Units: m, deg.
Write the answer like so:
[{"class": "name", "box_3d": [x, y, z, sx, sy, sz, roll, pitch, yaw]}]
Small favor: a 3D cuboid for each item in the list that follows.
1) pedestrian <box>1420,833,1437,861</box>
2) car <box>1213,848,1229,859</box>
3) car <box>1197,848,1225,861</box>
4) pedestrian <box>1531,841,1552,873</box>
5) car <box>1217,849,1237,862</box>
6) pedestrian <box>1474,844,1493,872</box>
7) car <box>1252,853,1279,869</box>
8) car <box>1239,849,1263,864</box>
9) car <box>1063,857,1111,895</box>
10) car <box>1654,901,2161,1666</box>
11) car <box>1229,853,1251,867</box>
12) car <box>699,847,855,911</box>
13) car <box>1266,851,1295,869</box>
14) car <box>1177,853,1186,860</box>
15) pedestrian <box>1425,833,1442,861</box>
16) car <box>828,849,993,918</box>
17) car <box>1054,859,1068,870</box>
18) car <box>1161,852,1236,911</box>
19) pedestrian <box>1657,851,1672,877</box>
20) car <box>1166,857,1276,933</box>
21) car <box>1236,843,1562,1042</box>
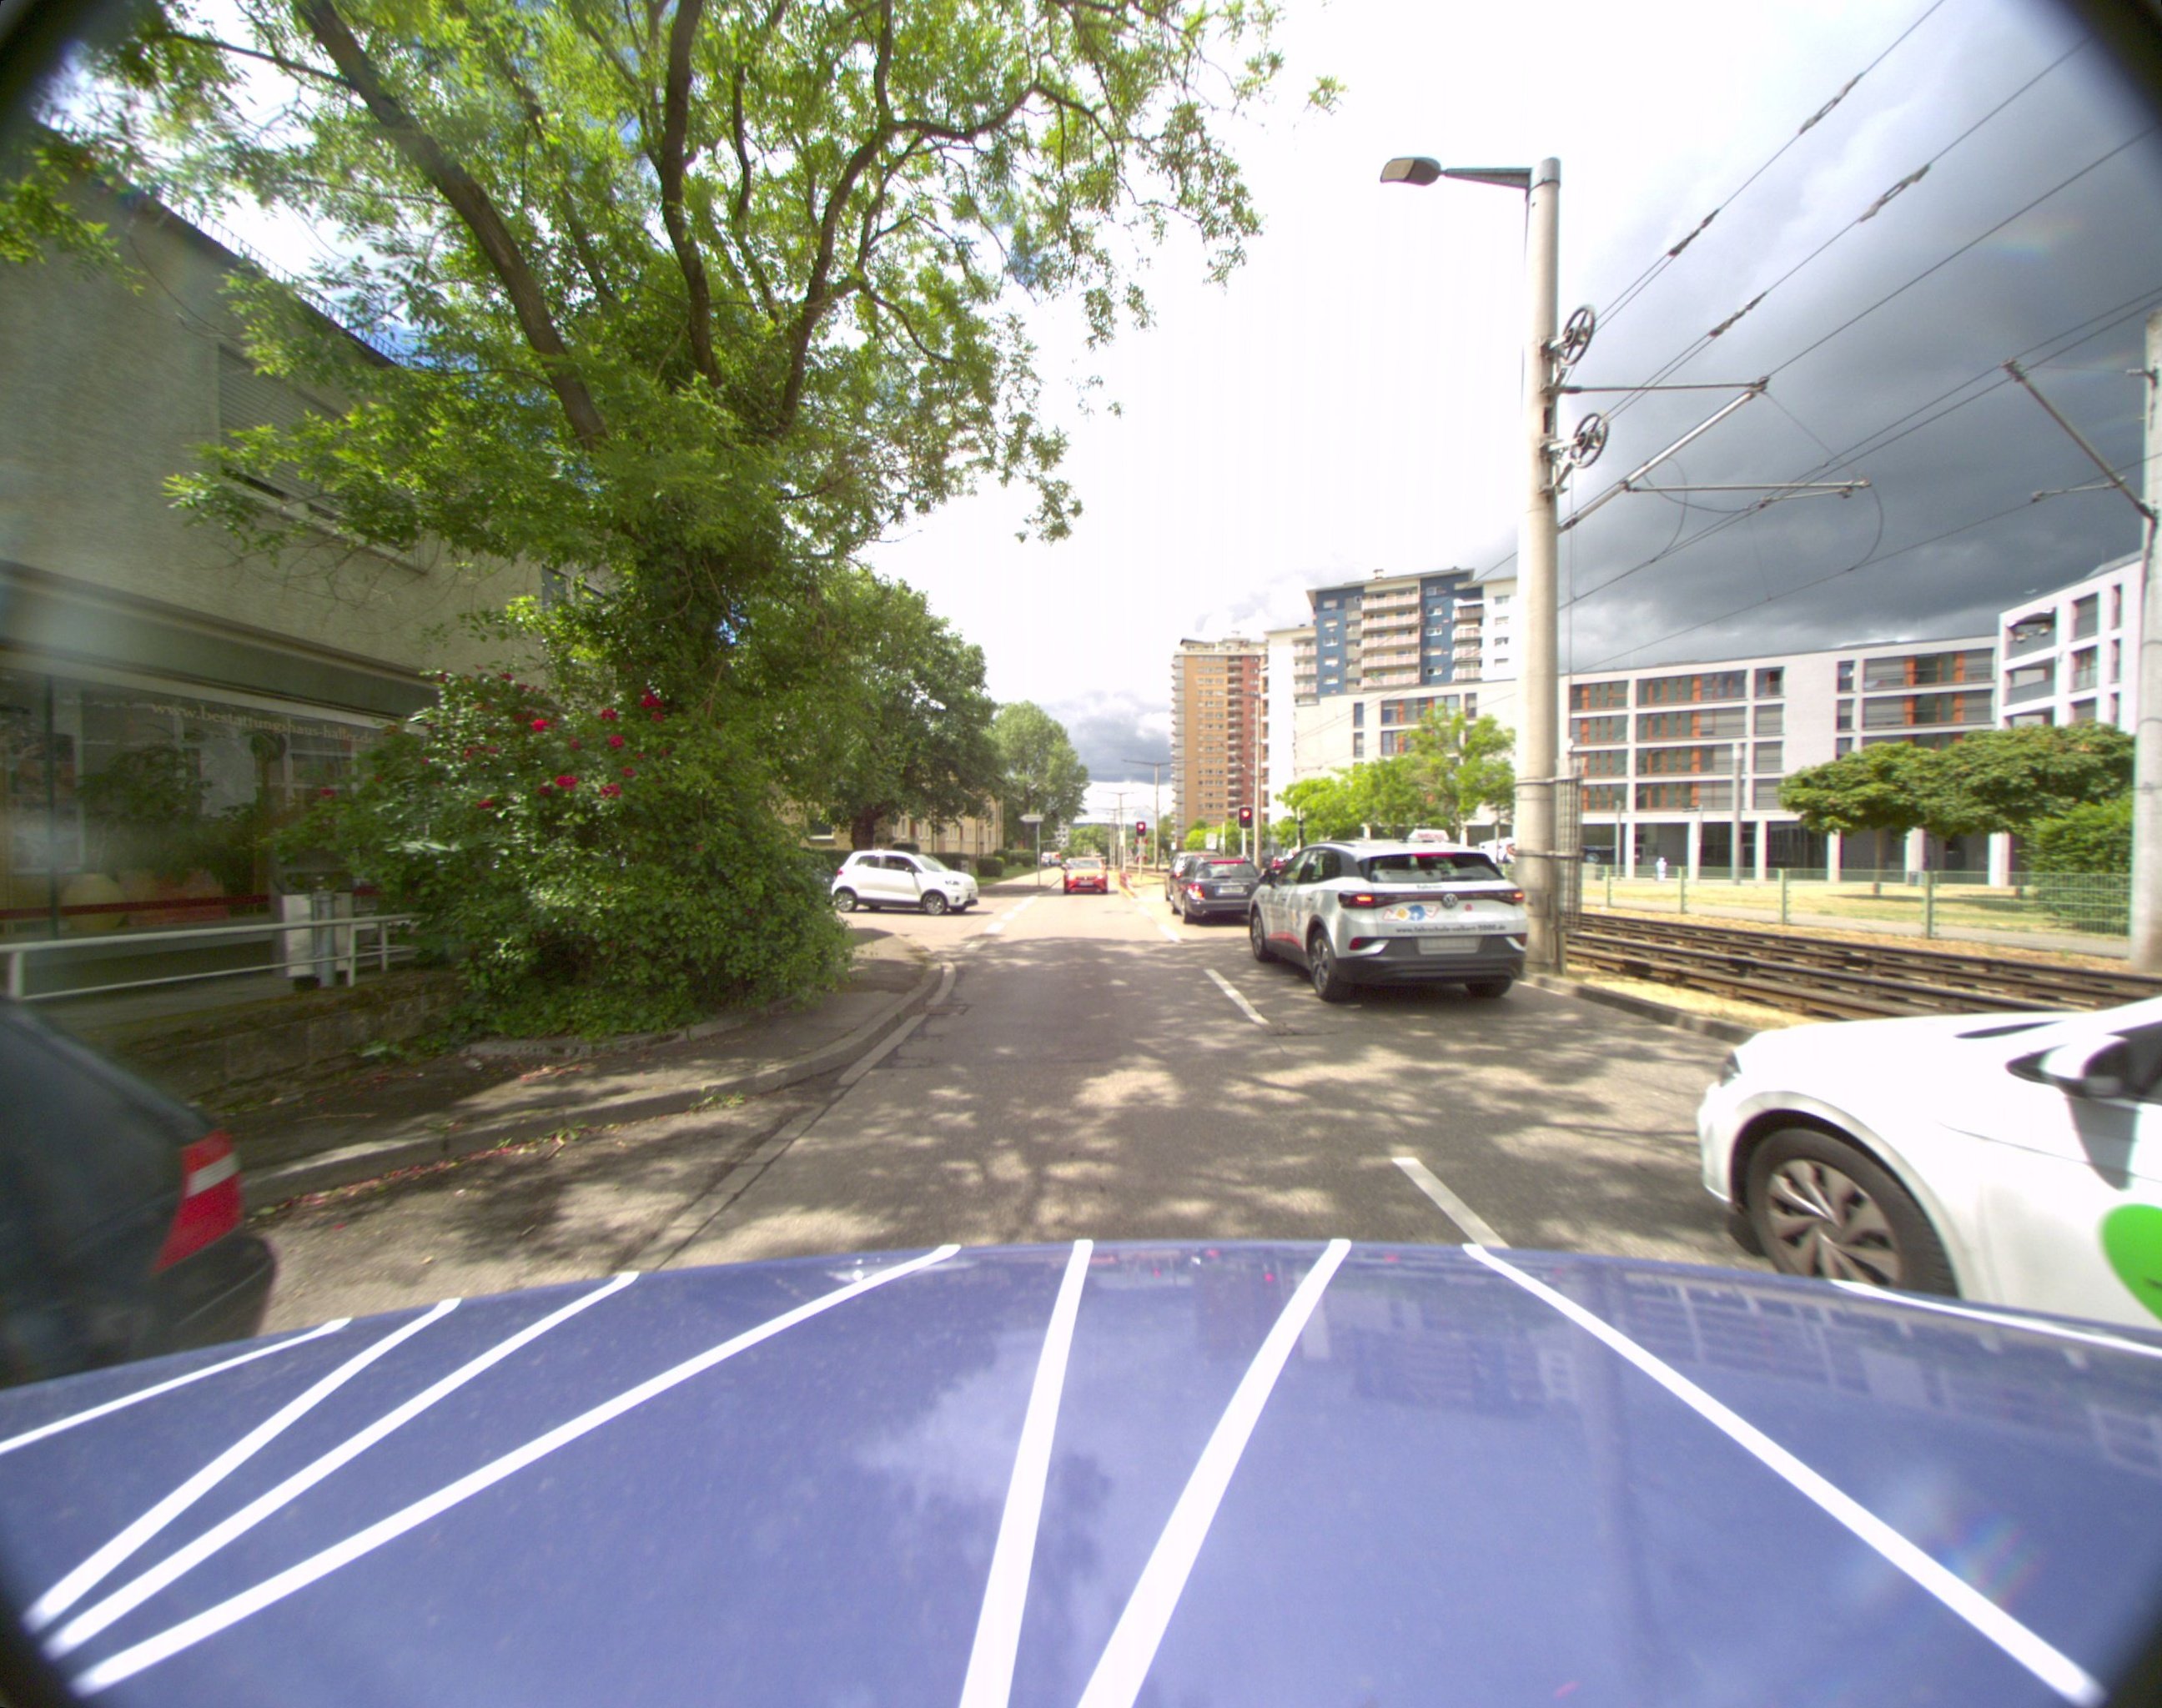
[{"class": "pedestrian", "box_3d": [21.073, -0.427, 46.114, 0.749, 1.644, 0.538, -1, 1, 1]}, {"class": "car", "box_3d": [21.252, -0.075, 115.238, 1.781, 1.650, 3.803, -1, 0, 0]}, {"class": "car", "box_3d": [20.482, 0.033, 119.634, 4.505, 1.914, 1.877, -1, 1, -40]}, {"class": "pedestrian", "box_3d": [23.830, 0.145, 39.311, 0.538, 1.601, 0.748, -1, 1, -21]}, {"class": "car", "box_3d": [18.251, 0.205, 95.244, 1.781, 1.531, 3.803, -1, 0, 0]}, {"class": "pedestrian", "box_3d": [28.498, 0.275, 53.745, 0.734, 2.002, 0.910, -1, 1, -17]}, {"class": "car", "box_3d": [18.472, 0.650, 76.042, 1.893, 1.531, 3.804, -1, 0, 2]}, {"class": "car", "box_3d": [18.416, 0.228, 82.293, 1.781, 1.531, 3.803, -1, 0, 0]}, {"class": "car", "box_3d": [0.291, 0.844, 30.537, 1.791, 1.387, 4.242, 0, 0, 2]}, {"class": "car", "box_3d": [3.006, 0.897, 0.849, 1.751, 1.398, 3.939, -1, 0, 0]}, {"class": "car", "box_3d": [18.486, 0.649, 88.602, 1.781, 1.531, 3.803, -1, 0, 0]}, {"class": "car", "box_3d": [-8.368, 0.638, 20.977, 3.641, 1.562, 1.844, 1, 1, 17]}, {"class": "car", "box_3d": [18.240, 0.546, 69.695, 1.893, 1.613, 3.805, -1, 0, 5]}, {"class": "car", "box_3d": [20.945, 0.558, 158.973, 1.780, 1.491, 3.805, -1, 0, 6]}, {"class": "pedestrian", "box_3d": [21.066, -0.429, 45.365, 0.749, 1.644, 0.538, -1, 1, 1]}, {"class": "car", "box_3d": [-4.309, 0.705, 19.396, 3.642, 1.562, 1.843, 1, 1, 13]}, {"class": "car", "box_3d": [-2.980, 1.535, 113.391, 1.843, 1.648, 3.789, -1, 0, 1]}, {"class": "car", "box_3d": [3.533, 0.770, 23.567, 1.861, 1.650, 4.176, -1, 0, 3]}, {"class": "pedestrian", "box_3d": [42.480, 0.716, 55.302, 0.748, 1.895, 0.539, -1, 1, 28]}, {"class": "car", "box_3d": [3.043, 0.827, 17.392, 1.815, 1.437, 4.465, -1, 0, 2]}, {"class": "car", "box_3d": [3.194, 0.751, 8.751, 1.862, 1.680, 4.433, -1, 0, 0]}]
